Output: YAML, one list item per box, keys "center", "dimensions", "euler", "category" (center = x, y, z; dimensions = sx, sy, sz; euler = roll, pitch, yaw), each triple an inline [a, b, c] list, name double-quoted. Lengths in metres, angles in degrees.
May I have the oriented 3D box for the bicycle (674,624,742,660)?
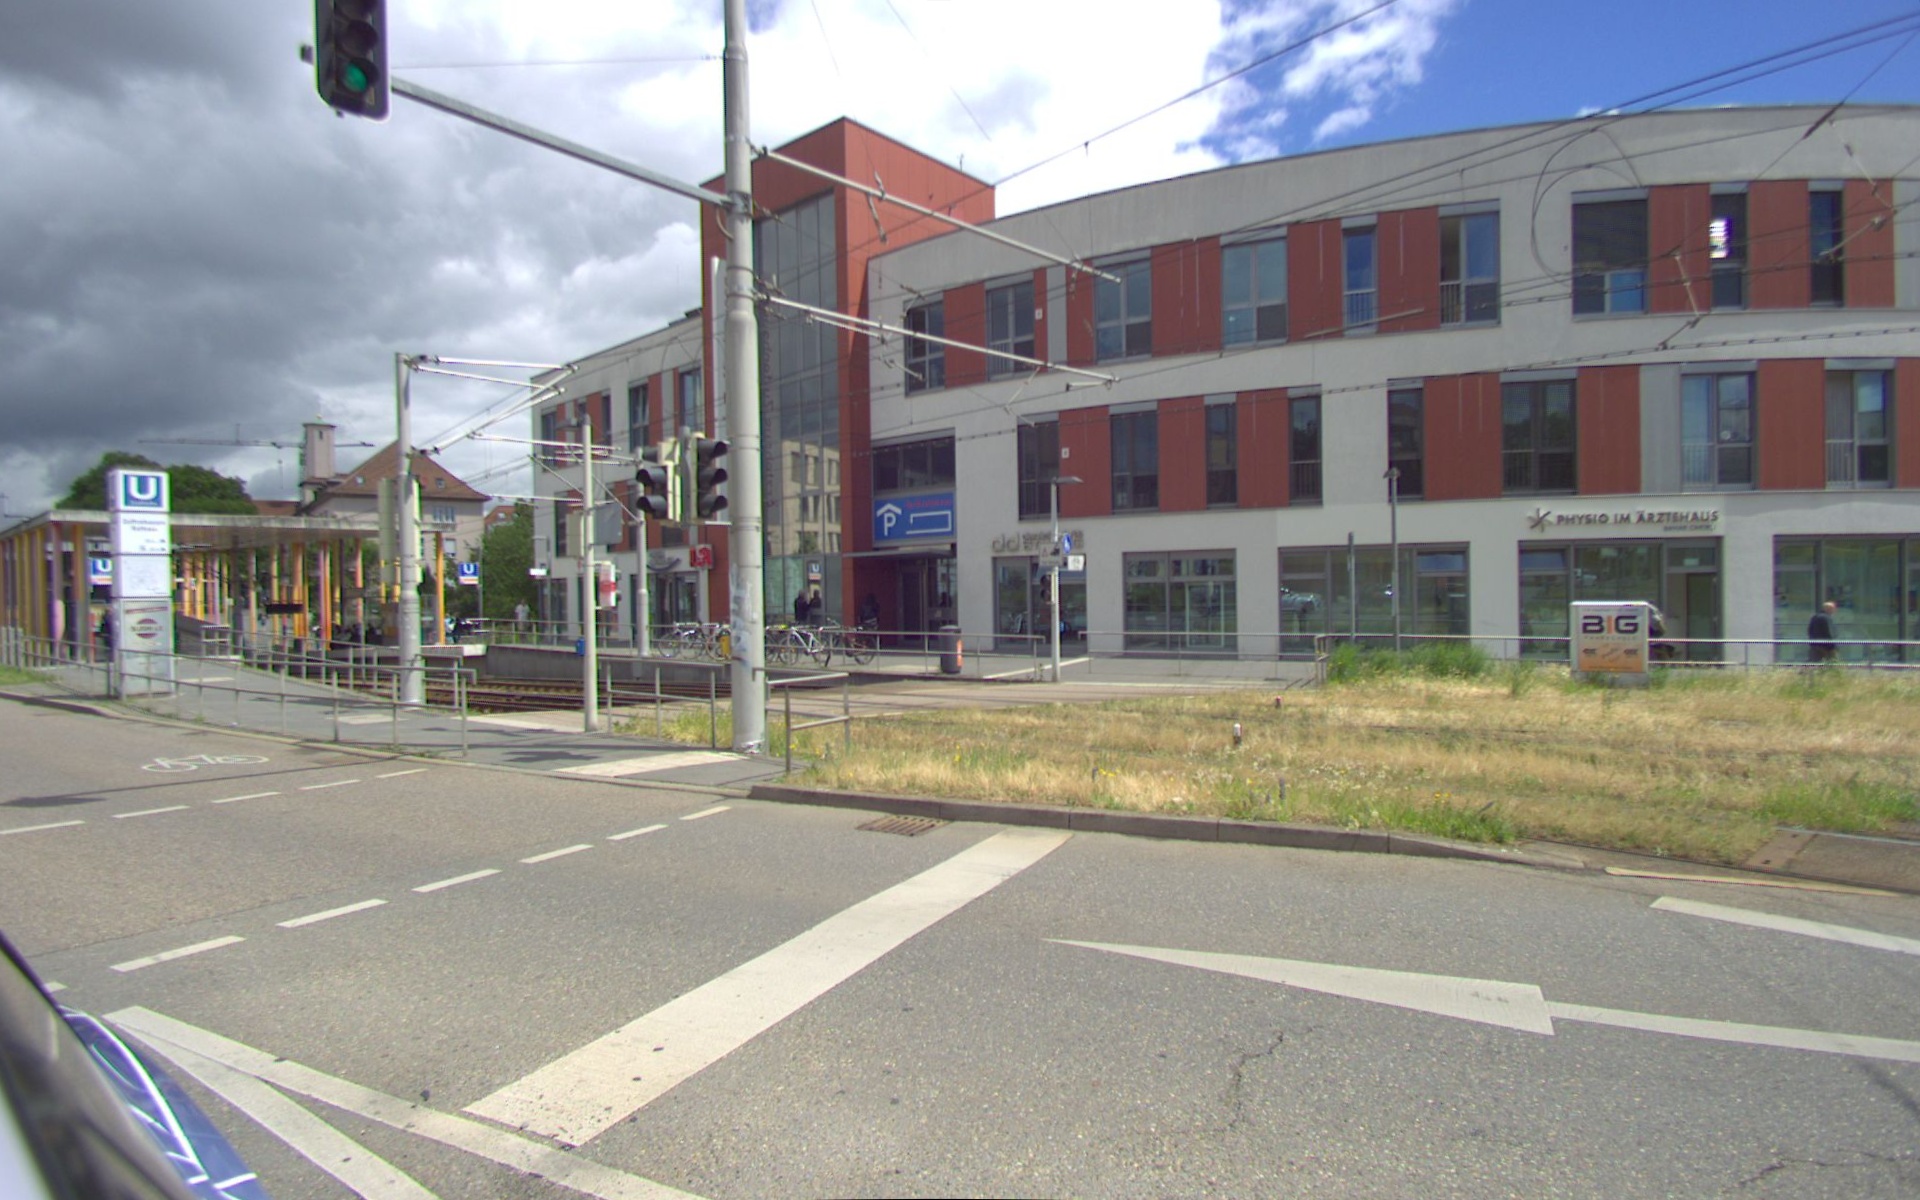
- center: [-6.985, 1.156, 28.142]
  dimensions: [1.835, 0.939, 0.455]
  euler: [0, 0, -41]
  category: "bicycle"

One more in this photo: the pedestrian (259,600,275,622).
- center: [-64.018, 0.991, 93.479]
  dimensions: [1.108, 2.029, 1.664]
  euler: [0, -1, -36]
  category: "pedestrian"

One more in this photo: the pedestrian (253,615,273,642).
- center: [-52.146, 2.123, 75.714]
  dimensions: [1.112, 2.029, 1.180]
  euler: [0, -2, -44]
  category: "pedestrian"

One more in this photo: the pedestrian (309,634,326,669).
- center: [-37.870, 3.020, 59.656]
  dimensions: [0.773, 2.029, 0.610]
  euler: [-2, -1, 34]
  category: "pedestrian"

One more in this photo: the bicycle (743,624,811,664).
- center: [-4.741, 1.129, 26.336]
  dimensions: [0.454, 0.970, 1.837]
  euler: [-1, 0, 43]
  category: "bicycle"

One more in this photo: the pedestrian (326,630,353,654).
- center: [-31.495, 2.123, 51.360]
  dimensions: [0.886, 1.143, 0.931]
  euler: [-2, -1, 42]
  category: "pedestrian"

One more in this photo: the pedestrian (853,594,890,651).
- center: [-2.719, 0.689, 31.052]
  dimensions: [0.919, 1.711, 0.791]
  euler: [1, -1, -21]
  category: "pedestrian"

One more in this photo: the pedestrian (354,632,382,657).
- center: [-28.553, 2.135, 48.791]
  dimensions: [0.886, 1.143, 0.931]
  euler: [-2, -1, 42]
  category: "pedestrian"

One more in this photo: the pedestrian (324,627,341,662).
- center: [-37.303, 2.634, 60.200]
  dimensions: [0.761, 2.029, 0.616]
  euler: [-2, -1, 34]
  category: "pedestrian"

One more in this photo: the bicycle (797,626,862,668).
- center: [-3.227, 1.139, 25.074]
  dimensions: [0.428, 0.965, 1.716]
  euler: [-1, 0, 43]
  category: "bicycle"

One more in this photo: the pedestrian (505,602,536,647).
- center: [-19.498, 1.067, 44.896]
  dimensions: [1.106, 1.983, 0.852]
  euler: [0, -1, 43]
  category: "pedestrian"

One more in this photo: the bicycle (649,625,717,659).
- center: [-7.878, 1.193, 28.830]
  dimensions: [1.834, 0.888, 0.455]
  euler: [0, 0, -41]
  category: "bicycle"

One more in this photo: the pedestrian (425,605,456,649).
- center: [-23.860, 1.226, 46.494]
  dimensions: [1.105, 1.983, 0.853]
  euler: [0, -1, 39]
  category: "pedestrian"

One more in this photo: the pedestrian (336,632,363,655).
- center: [-30.119, 2.137, 49.900]
  dimensions: [0.886, 1.143, 0.931]
  euler: [-2, -1, 42]
  category: "pedestrian"

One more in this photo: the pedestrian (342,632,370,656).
- center: [-29.402, 2.134, 49.265]
  dimensions: [0.886, 1.143, 0.931]
  euler: [-2, -1, 42]
  category: "pedestrian"

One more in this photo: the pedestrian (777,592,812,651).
- center: [-5.315, 0.667, 32.481]
  dimensions: [0.856, 1.859, 0.876]
  euler: [0, 1, 13]
  category: "pedestrian"

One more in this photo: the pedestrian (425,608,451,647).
- center: [-26.833, 1.420, 52.018]
  dimensions: [0.852, 1.983, 1.107]
  euler: [1, -1, -44]
  category: "pedestrian"

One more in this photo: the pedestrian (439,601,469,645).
- center: [-23.446, 1.064, 46.920]
  dimensions: [1.105, 1.983, 0.853]
  euler: [0, -1, 39]
  category: "pedestrian"

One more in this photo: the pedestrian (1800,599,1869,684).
- center: [16.738, 0.783, 19.385]
  dimensions: [0.684, 1.592, 0.733]
  euler: [-1, -1, 10]
  category: "pedestrian"

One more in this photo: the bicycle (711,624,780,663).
- center: [-5.700, 1.140, 26.984]
  dimensions: [1.836, 0.946, 0.455]
  euler: [0, 0, -45]
  category: "bicycle"

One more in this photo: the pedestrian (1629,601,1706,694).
- center: [15.519, 1.020, 22.214]
  dimensions: [1.104, 1.983, 0.862]
  euler: [0, -1, 10]
  category: "pedestrian"

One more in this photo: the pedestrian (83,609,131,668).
- center: [-28.271, 1.262, 33.535]
  dimensions: [0.864, 1.929, 1.090]
  euler: [0, -1, 42]
  category: "pedestrian"

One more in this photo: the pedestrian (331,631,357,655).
- center: [-30.809, 2.141, 50.618]
  dimensions: [0.886, 1.143, 0.931]
  euler: [-2, -1, 42]
  category: "pedestrian"

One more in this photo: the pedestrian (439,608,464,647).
- center: [-26.349, 1.419, 52.424]
  dimensions: [0.852, 1.983, 1.107]
  euler: [1, -1, -44]
  category: "pedestrian"

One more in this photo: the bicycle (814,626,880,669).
- center: [-2.739, 1.140, 24.671]
  dimensions: [0.428, 0.959, 1.716]
  euler: [-1, 0, 43]
  category: "bicycle"

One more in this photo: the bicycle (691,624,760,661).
- center: [-6.372, 1.153, 27.583]
  dimensions: [1.835, 0.929, 0.455]
  euler: [0, 0, -42]
  category: "bicycle"

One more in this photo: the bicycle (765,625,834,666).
- center: [-4.058, 1.140, 25.701]
  dimensions: [0.454, 0.942, 1.837]
  euler: [-1, 0, 43]
  category: "bicycle"
